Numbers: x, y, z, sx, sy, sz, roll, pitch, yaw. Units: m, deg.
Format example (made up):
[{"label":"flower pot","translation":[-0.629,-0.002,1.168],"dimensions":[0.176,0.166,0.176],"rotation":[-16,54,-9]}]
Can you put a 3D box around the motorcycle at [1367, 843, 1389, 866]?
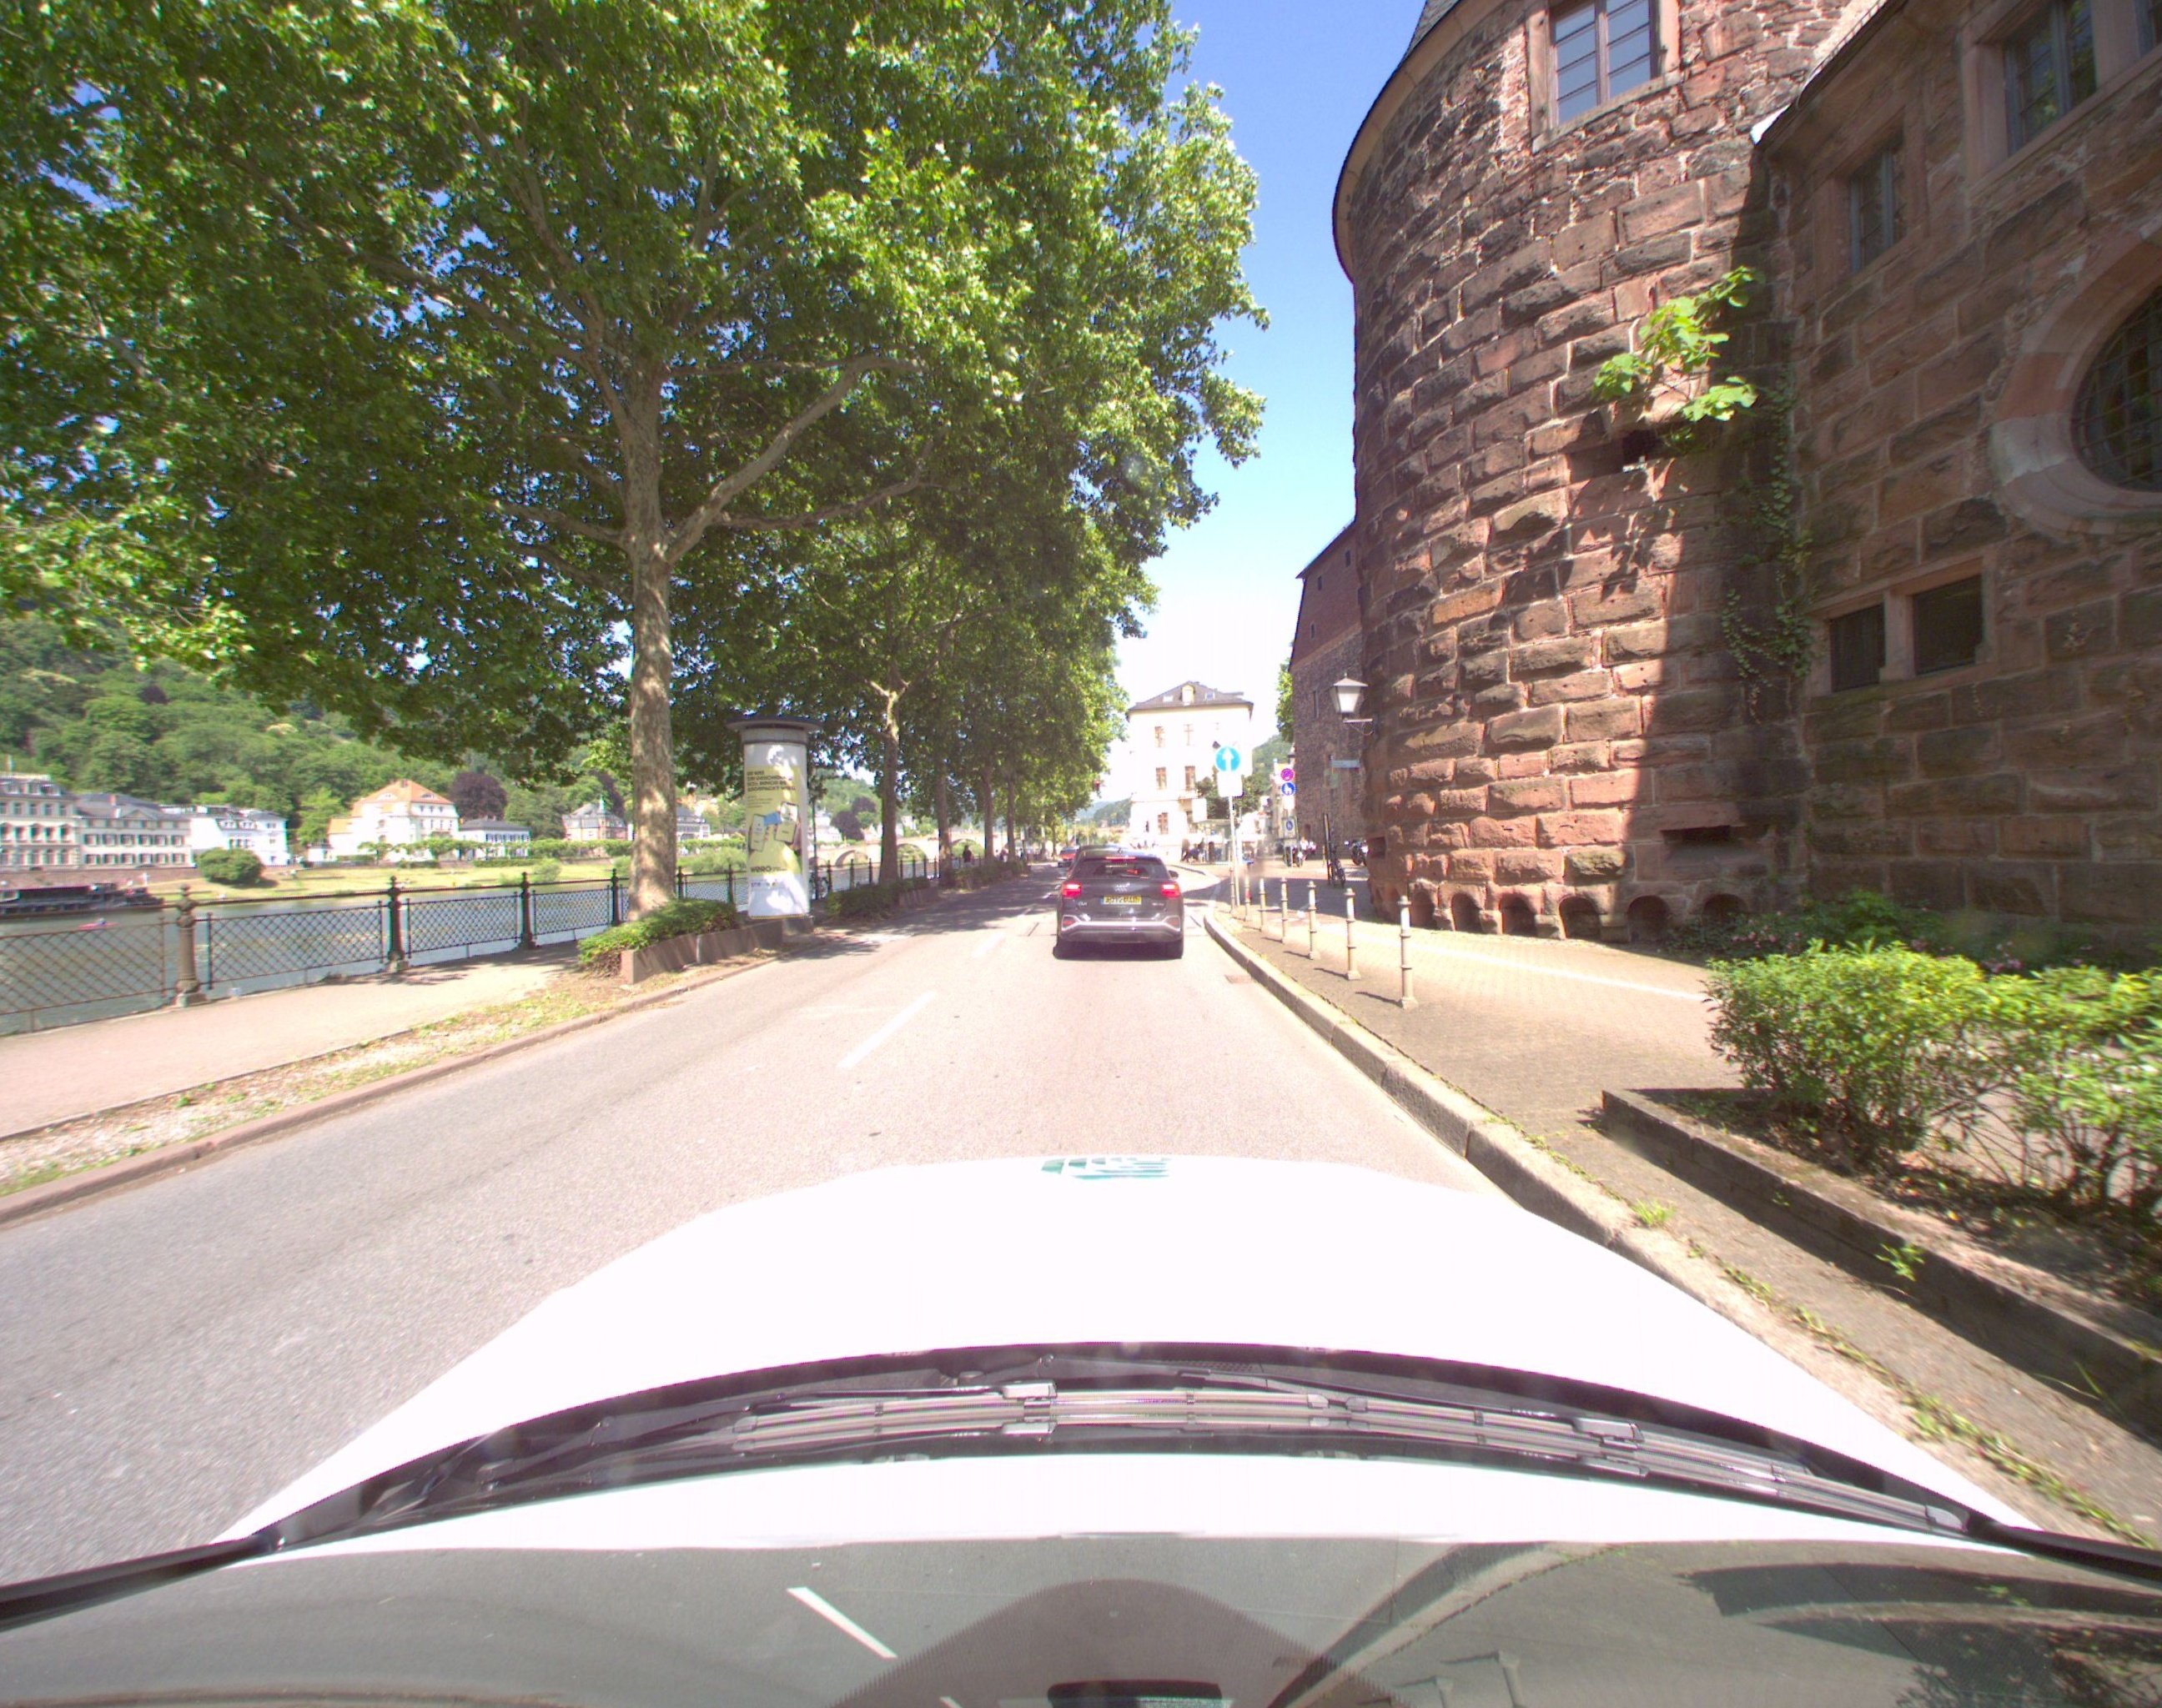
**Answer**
[{"label":"motorcycle","translation":[12.966,0.014,35.599],"dimensions":[0.456,0.973,1.467],"rotation":[0,0,2]}]

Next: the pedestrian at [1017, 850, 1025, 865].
[{"label":"pedestrian","translation":[-5.288,0.312,71.471],"dimensions":[0.588,1.278,0.525],"rotation":[-3,0,2]}]

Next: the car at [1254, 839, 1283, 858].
[{"label":"car","translation":[17.974,-0.523,78.173],"dimensions":[1.986,1.716,4.002],"rotation":[0,0,2]}]

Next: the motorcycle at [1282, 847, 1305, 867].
[{"label":"motorcycle","translation":[9.429,0.106,36.162],"dimensions":[0.481,0.818,2.281],"rotation":[-3,0,2]}]

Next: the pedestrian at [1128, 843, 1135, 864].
[{"label":"pedestrian","translation":[3.901,-0.041,62.910],"dimensions":[0.555,1.557,0.660],"rotation":[0,0,3]}]

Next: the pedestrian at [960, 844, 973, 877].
[{"label":"pedestrian","translation":[-6.134,0.357,43.506],"dimensions":[0.562,1.741,0.665],"rotation":[-2,0,-1]}]

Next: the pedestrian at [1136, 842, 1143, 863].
[{"label":"pedestrian","translation":[4.486,-0.115,62.446],"dimensions":[0.555,1.557,0.660],"rotation":[0,0,3]}]

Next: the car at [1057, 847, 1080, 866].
[{"label":"car","translation":[-1.013,0.191,68.621],"dimensions":[1.608,1.523,3.480],"rotation":[-3,0,4]}]

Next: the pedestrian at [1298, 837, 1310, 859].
[{"label":"pedestrian","translation":[15.078,-0.410,55.106],"dimensions":[0.655,1.517,0.548],"rotation":[0,0,3]}]

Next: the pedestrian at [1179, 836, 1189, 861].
[{"label":"pedestrian","translation":[6.746,-0.336,53.433],"dimensions":[0.555,1.633,0.660],"rotation":[0,0,3]}]

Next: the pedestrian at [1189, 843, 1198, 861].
[{"label":"pedestrian","translation":[7.484,-0.108,54.122],"dimensions":[0.544,1.201,0.523],"rotation":[0,0,3]}]

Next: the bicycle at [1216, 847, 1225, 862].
[{"label":"bicycle","translation":[9.187,0.035,53.674],"dimensions":[0.449,0.974,1.400],"rotation":[0,0,2]}]

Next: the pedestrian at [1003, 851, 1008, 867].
[{"label":"pedestrian","translation":[-7.038,0.457,75.581],"dimensions":[0.408,1.425,0.457],"rotation":[0,0,-1]}]

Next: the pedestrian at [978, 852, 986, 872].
[{"label":"pedestrian","translation":[-7.820,0.591,64.127],"dimensions":[0.496,1.537,0.678],"rotation":[-3,0,-5]}]

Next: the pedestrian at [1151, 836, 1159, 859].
[{"label":"pedestrian","translation":[5.196,-0.443,57.061],"dimensions":[0.555,1.557,0.660],"rotation":[0,0,3]}]

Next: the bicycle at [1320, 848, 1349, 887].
[{"label":"bicycle","translation":[7.094,0.365,22.851],"dimensions":[0.493,1.030,2.056],"rotation":[-3,0,10]}]

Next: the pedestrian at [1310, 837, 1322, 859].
[{"label":"pedestrian","translation":[15.852,-0.409,54.944],"dimensions":[0.655,1.517,0.627],"rotation":[0,0,3]}]

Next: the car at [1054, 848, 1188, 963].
[{"label":"car","translation":[0.555,0.658,12.496],"dimensions":[1.742,1.494,3.629],"rotation":[0,0,1]}]

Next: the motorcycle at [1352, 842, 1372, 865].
[{"label":"motorcycle","translation":[12.262,-0.026,35.542],"dimensions":[0.434,0.973,1.359],"rotation":[0,0,2]}]

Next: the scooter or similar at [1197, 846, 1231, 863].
[{"label":"scooter or similar","translation":[7.486,0.023,45.754],"dimensions":[1.838,0.963,0.429],"rotation":[0,0,1]}]

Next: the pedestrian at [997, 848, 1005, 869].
[{"label":"pedestrian","translation":[-6.268,0.329,63.519],"dimensions":[0.516,1.637,0.438],"rotation":[-3,0,-5]}]

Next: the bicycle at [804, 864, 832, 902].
[{"label":"bicycle","translation":[-8.647,0.935,26.793],"dimensions":[0.356,1.162,1.825],"rotation":[0,0,-1]}]

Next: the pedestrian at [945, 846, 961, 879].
[{"label":"pedestrian","translation":[-6.813,0.439,43.467],"dimensions":[0.643,1.717,0.665],"rotation":[-3,0,-1]}]

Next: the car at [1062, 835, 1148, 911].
[{"label":"car","translation":[0.604,0.407,19.656],"dimensions":[1.794,1.562,3.718],"rotation":[-3,0,2]}]

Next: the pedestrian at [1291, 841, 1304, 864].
[{"label":"pedestrian","translation":[13.751,-0.094,51.723],"dimensions":[0.655,1.493,0.548],"rotation":[0,0,3]}]

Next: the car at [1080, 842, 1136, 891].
[{"label":"car","translation":[0.968,0.387,28.667],"dimensions":[1.794,1.523,3.718],"rotation":[-3,0,2]}]

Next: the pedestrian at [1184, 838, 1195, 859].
[{"label":"pedestrian","translation":[8.028,-0.438,60.472],"dimensions":[0.744,1.557,0.589],"rotation":[0,0,3]}]
